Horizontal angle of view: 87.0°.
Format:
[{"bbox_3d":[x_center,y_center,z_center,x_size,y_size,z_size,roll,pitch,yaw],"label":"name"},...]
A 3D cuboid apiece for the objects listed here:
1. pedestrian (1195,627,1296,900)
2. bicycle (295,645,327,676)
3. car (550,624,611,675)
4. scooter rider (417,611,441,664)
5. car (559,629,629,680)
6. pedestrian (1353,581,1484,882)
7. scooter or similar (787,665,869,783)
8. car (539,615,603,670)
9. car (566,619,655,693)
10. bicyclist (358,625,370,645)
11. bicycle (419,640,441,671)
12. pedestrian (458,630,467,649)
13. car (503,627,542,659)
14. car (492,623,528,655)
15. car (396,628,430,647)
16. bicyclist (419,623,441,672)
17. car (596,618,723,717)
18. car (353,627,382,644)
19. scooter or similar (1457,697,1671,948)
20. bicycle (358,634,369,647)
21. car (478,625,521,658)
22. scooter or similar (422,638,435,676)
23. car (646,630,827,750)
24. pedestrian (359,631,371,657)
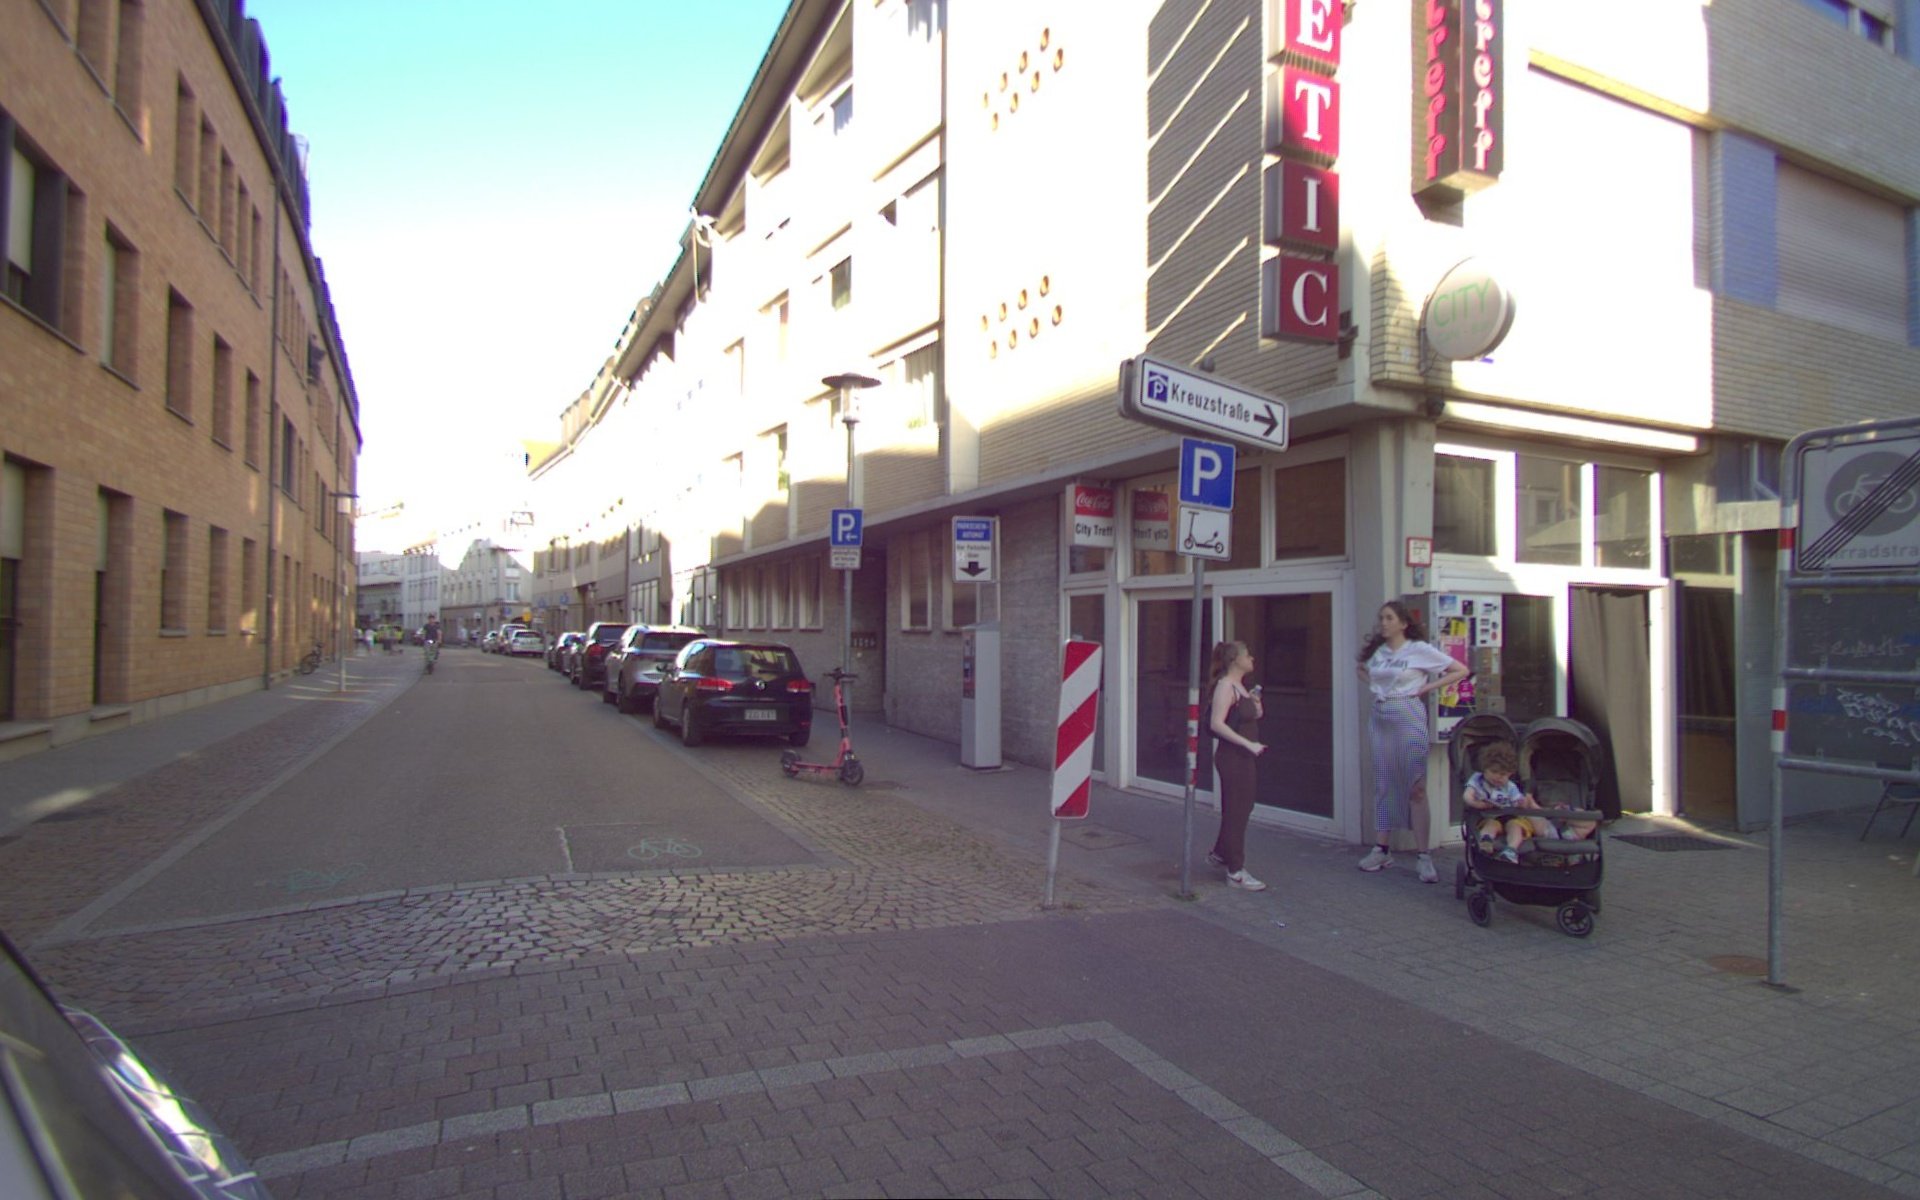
[{"bbox_3d":[1.751,0.975,6.255,0.506,1.592,0.531,-2,-2,14],"label":"pedestrian"},{"bbox_3d":[-20.484,1.902,31.975,0.632,0.888,2.565,3,-3,-28],"label":"bicycle"},{"bbox_3d":[-13.839,1.785,36.787,1.645,1.717,4.025,4,-4,-25],"label":"car"},{"bbox_3d":[-17.520,1.243,33.410,0.638,1.739,0.704,1,-4,-30],"label":"scooter rider"},{"bbox_3d":[-11.733,1.715,32.284,1.645,1.472,3.876,4,-4,-25],"label":"car"},{"bbox_3d":[2.996,0.817,6.599,0.657,1.833,0.565,-3,-2,30],"label":"pedestrian"},{"bbox_3d":[-1.404,1.300,10.740,0.877,1.193,0.207,-1,-2,25],"label":"scooter or similar"},{"bbox_3d":[-15.615,1.715,40.552,1.965,2.029,4.013,4,-4,-25],"label":"car"},{"bbox_3d":[-9.124,1.431,26.209,1.645,1.717,4.025,4,-4,-25],"label":"car"},{"bbox_3d":[-51.402,3.041,87.280,0.760,1.668,0.959,-1,-1,-33],"label":"bicyclist"},{"bbox_3d":[-18.773,1.953,35.854,0.581,1.060,1.806,-1,-1,-25],"label":"bicycle"},{"bbox_3d":[-40.160,3.178,81.687,0.562,1.490,0.475,2,-2,-33],"label":"pedestrian"},{"bbox_3d":[-24.339,2.375,56.220,1.664,1.692,3.518,4,-4,-27],"label":"car"},{"bbox_3d":[-27.314,2.365,61.356,1.664,1.789,3.667,4,-4,-27],"label":"car"},{"bbox_3d":[-49.111,3.355,90.842,1.905,1.663,3.843,2,-3,-39],"label":"car"},{"bbox_3d":[-18.901,1.688,36.086,0.609,1.679,0.826,-1,-1,-25],"label":"bicyclist"},{"bbox_3d":[-5.913,1.270,19.616,1.645,1.674,4.094,4,-4,-25],"label":"car"},{"bbox_3d":[-60.234,3.587,102.910,1.905,1.663,3.843,3,-3,-39],"label":"car"},{"bbox_3d":[3.274,1.158,5.592,0.792,1.152,0.948,0,-1,17],"label":"scooter or similar"},{"bbox_3d":[-51.372,3.461,87.196,0.693,1.112,1.832,2,-2,-34],"label":"bicycle"},{"bbox_3d":[-30.490,2.747,66.978,1.966,2.029,4.011,4,-4,-32],"label":"car"},{"bbox_3d":[-17.506,1.875,33.311,0.331,1.195,1.283,-1,-2,-29],"label":"scooter or similar"},{"bbox_3d":[-3.400,1.239,14.867,1.711,1.497,3.824,4,-3,-25],"label":"car"},{"bbox_3d":[-35.267,2.607,59.991,0.534,1.556,0.406,3,-3,-27],"label":"pedestrian"}]
